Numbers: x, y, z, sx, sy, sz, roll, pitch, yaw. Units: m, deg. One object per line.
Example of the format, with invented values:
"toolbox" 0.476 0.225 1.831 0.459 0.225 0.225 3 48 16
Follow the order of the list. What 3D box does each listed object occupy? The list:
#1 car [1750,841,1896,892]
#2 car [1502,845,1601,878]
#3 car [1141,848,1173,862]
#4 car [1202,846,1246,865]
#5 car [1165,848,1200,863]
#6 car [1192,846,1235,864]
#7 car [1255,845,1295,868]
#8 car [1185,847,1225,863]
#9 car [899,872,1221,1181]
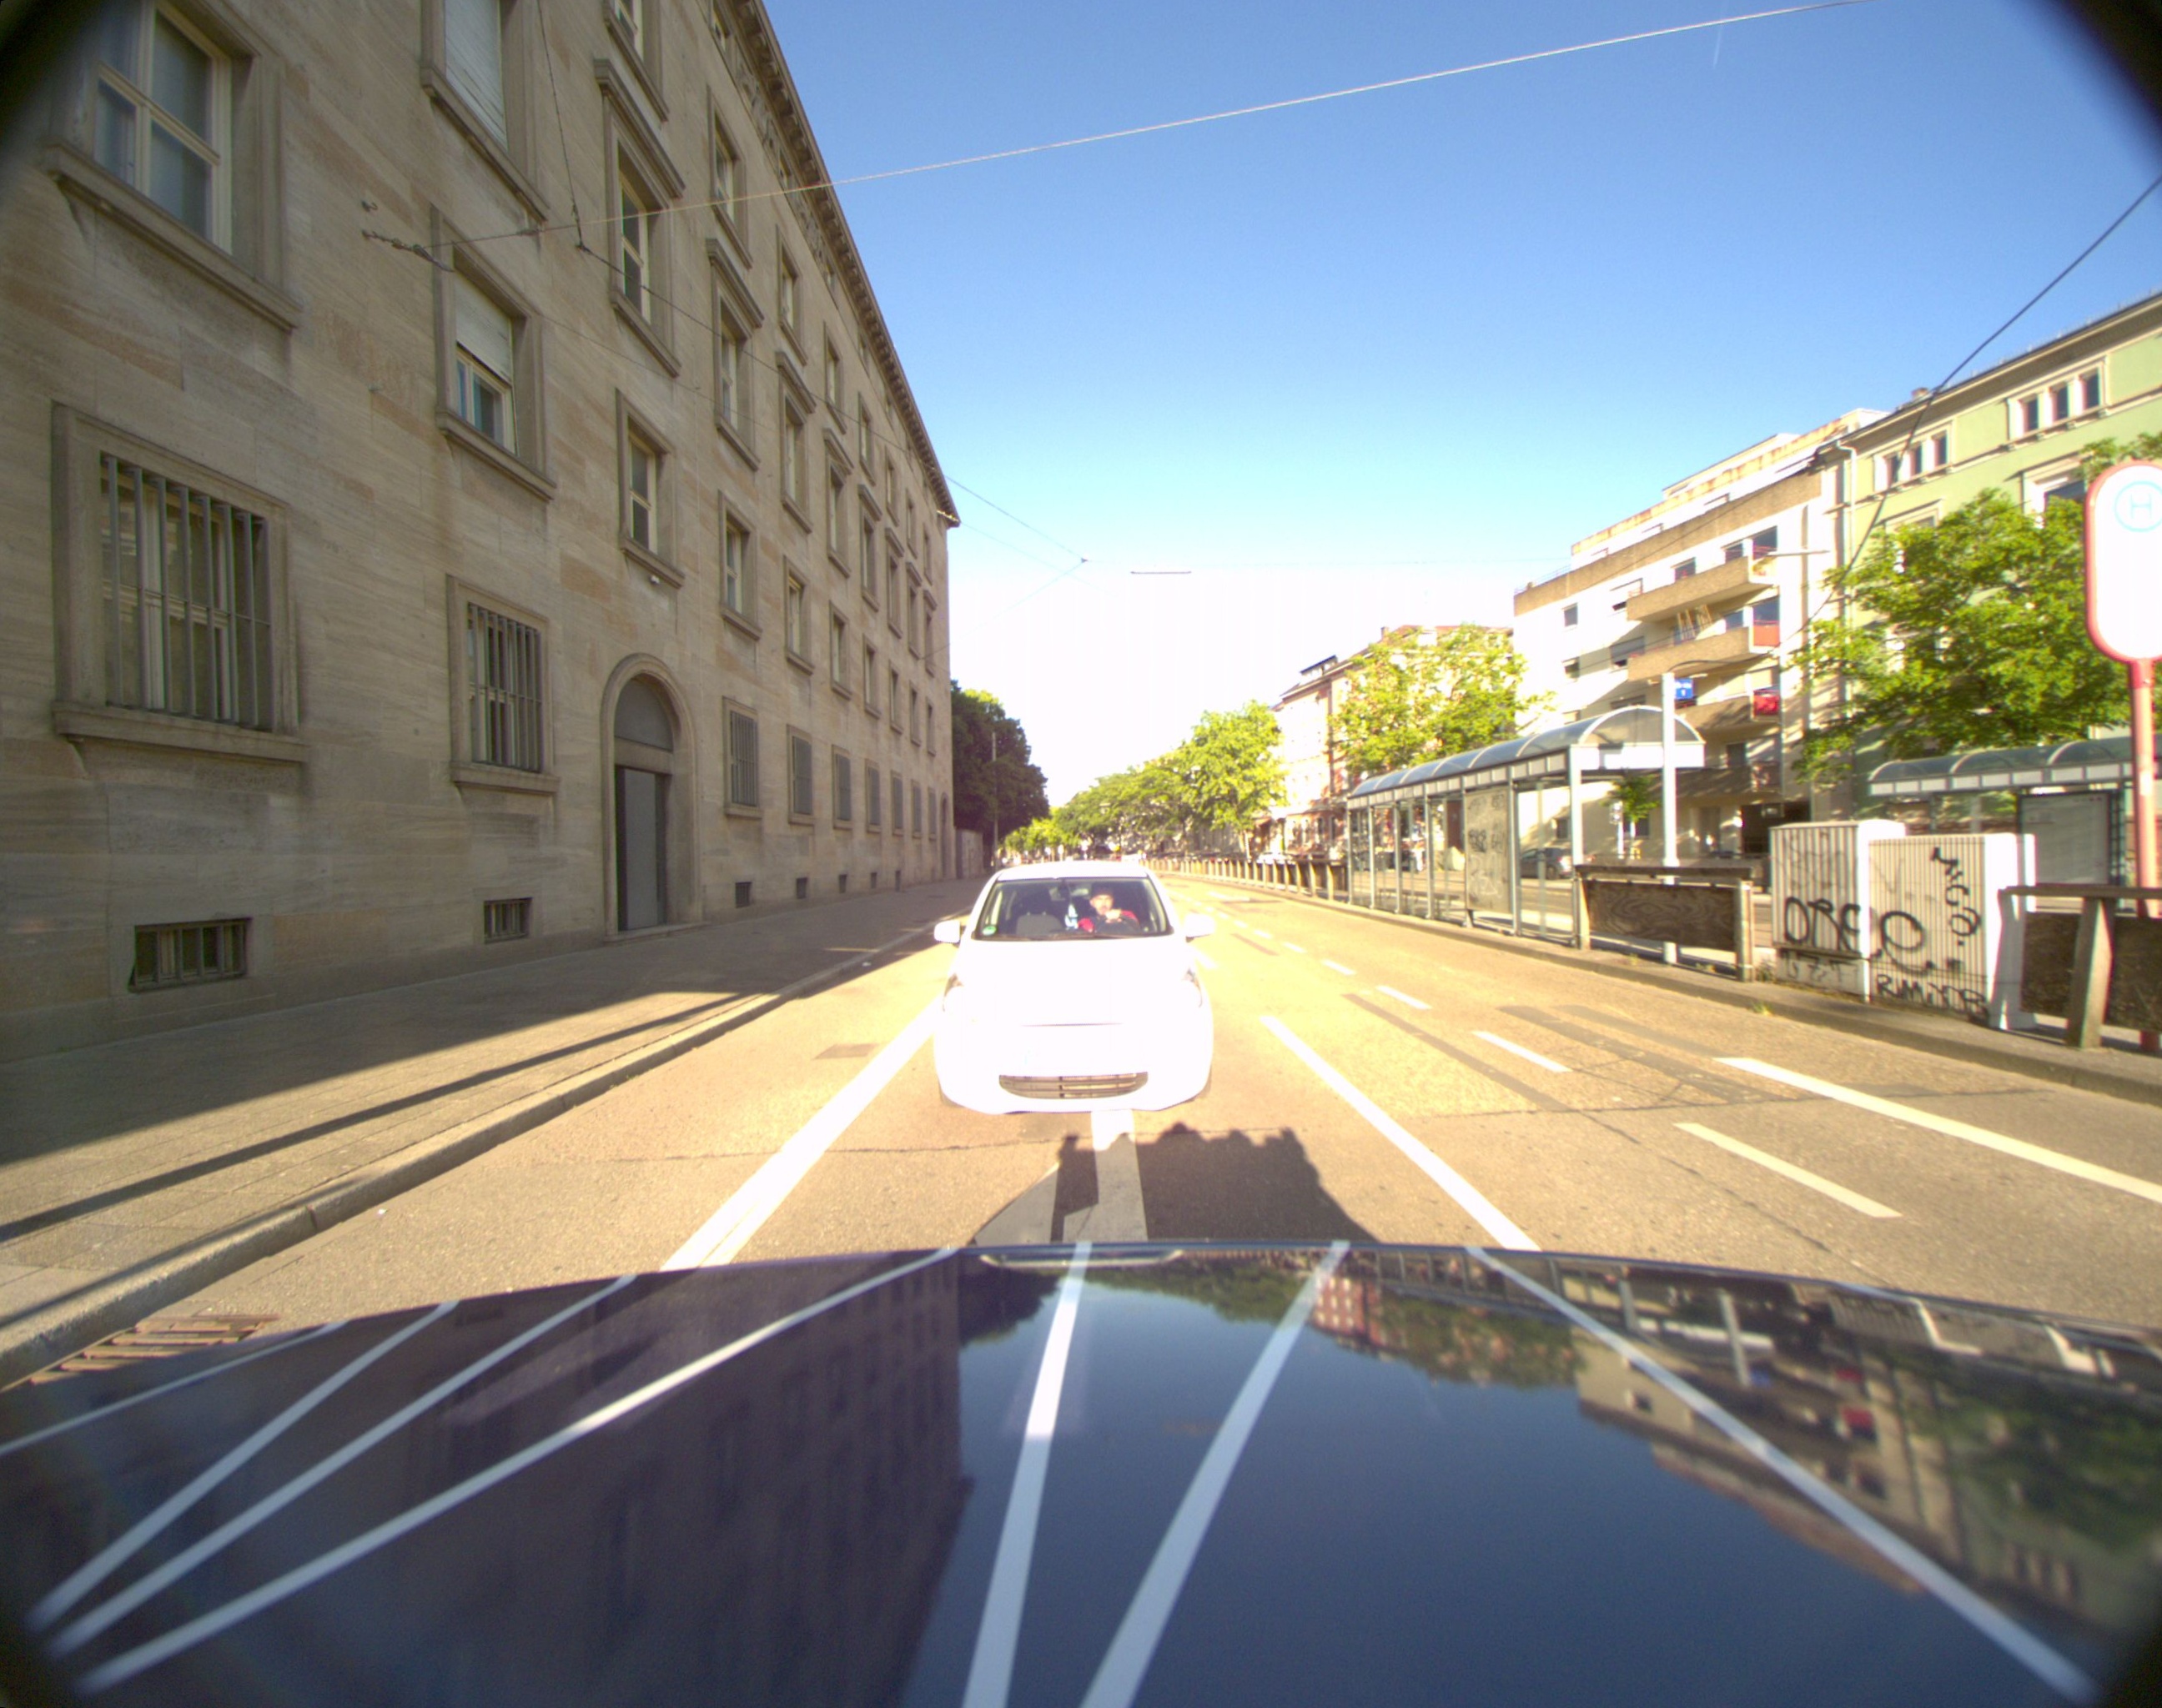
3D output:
"car" 23.932 0.370 24.543 3.796 1.526 1.772 -1 0 -17
"car" 20.844 0.317 33.826 1.615 1.387 3.516 -1 0 -19
"car" 9.561 0.133 95.707 3.864 1.583 2.001 -1 0 4
"car" 13.634 0.130 72.584 3.996 1.674 2.000 -1 0 4
"car" 11.434 0.147 86.081 3.864 1.583 2.001 -1 0 5
"car" 13.348 0.115 76.718 3.996 1.674 2.000 -1 0 4
"car" 16.302 0.165 63.669 1.994 1.713 4.007 0 2 34
"car" 13.155 0.087 80.522 3.996 1.674 2.000 -1 0 4
"car" -0.080 0.922 5.688 1.612 1.450 3.667 -1 0 1
